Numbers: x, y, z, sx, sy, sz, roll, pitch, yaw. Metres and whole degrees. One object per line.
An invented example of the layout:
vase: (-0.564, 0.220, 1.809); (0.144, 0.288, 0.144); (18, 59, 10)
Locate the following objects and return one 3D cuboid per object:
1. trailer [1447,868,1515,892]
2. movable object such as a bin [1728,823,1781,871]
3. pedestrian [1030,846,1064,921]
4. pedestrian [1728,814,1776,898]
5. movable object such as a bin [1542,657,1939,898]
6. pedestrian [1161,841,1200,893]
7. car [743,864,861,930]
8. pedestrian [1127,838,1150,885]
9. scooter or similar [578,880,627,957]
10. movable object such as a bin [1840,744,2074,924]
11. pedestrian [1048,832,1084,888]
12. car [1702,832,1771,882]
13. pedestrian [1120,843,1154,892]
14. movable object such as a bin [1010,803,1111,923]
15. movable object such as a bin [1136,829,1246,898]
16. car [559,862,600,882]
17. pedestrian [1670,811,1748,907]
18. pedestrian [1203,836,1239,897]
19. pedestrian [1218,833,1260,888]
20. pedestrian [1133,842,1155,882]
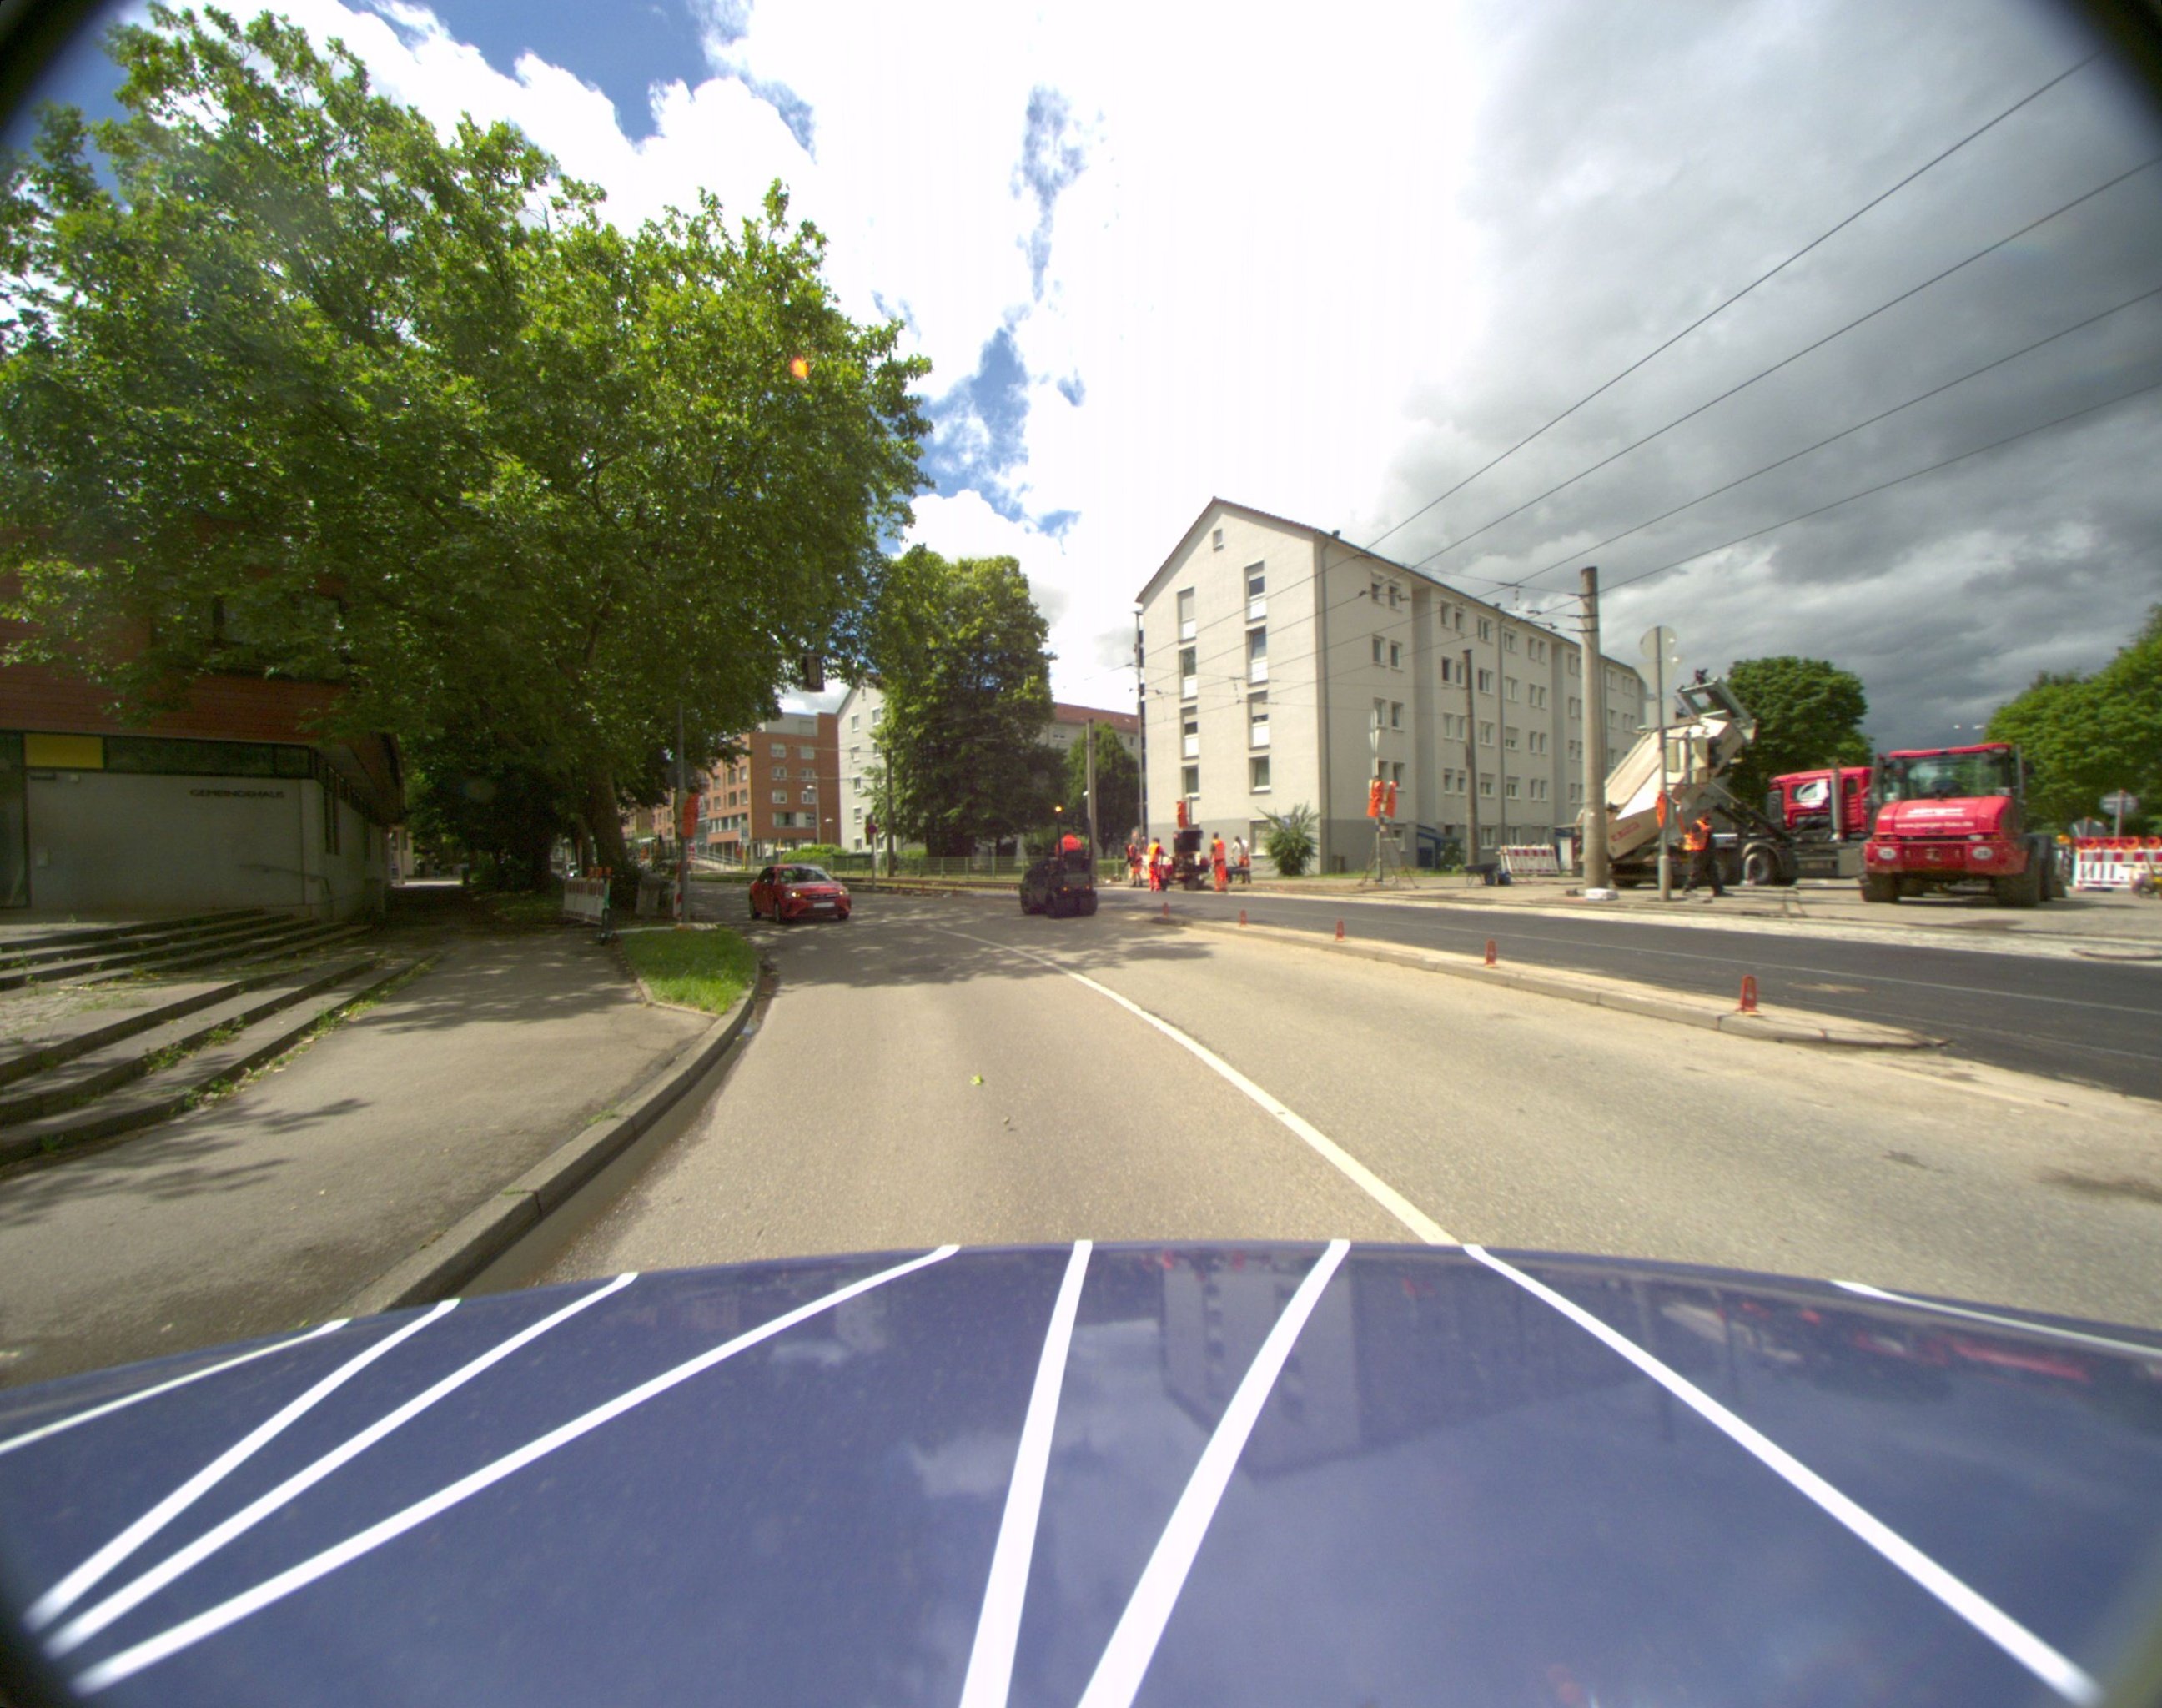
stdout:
trailer: (11.145, 0.714, 21.238); (0.798, 0.612, 1.595); (0, 0, -16)
movable object such as a bin: (35.452, -0.356, 40.056); (1.994, 2.395, 4.008); (0, 0, 41)
pedestrian: (-0.779, 0.668, 17.507); (0.471, 1.672, 0.557); (-4, 2, -37)
pedestrian: (14.454, 0.045, 16.368); (0.583, 1.778, 0.611); (-2, -1, -37)
movable object such as a bin: (16.860, -1.775, 19.554); (9.038, 5.453, 2.818); (-1, 0, -12)
pedestrian: (3.374, 0.435, 25.779); (0.861, 1.706, 0.917); (-2, 0, -29)
car: (-7.233, 1.041, 19.493); (1.773, 1.425, 3.829); (-3, 1, -36)
pedestrian: (2.391, 0.312, 31.402); (0.880, 1.897, 0.667); (-2, 1, 6)
scooter or similar: (-8.259, 1.087, 13.139); (0.566, 1.225, 1.192); (-1, 0, -26)
movable object such as a bin: (15.802, -0.378, 13.615); (5.597, 2.653, 2.110); (-2, 1, -34)
pedestrian: (-0.339, 0.135, 16.871); (0.552, 1.209, 0.616); (-2, 1, -29)
car: (26.733, 0.111, 30.965); (1.994, 1.871, 4.352); (-1, 0, 42)
pedestrian: (1.996, 0.487, 27.039); (0.754, 1.706, 0.916); (-2, 0, -34)
movable object such as a bin: (-0.517, 0.187, 17.662); (1.323, 2.579, 2.357); (-3, 1, -29)
movable object such as a bin: (3.430, 0.277, 23.999); (2.003, 2.002, 2.961); (-1, 0, -31)
car: (-34.052, 1.223, 51.541); (3.370, 1.311, 1.538); (-1, 0, 43)
pedestrian: (12.485, 0.086, 15.117); (0.797, 1.822, 0.969); (-3, 2, -31)
pedestrian: (4.311, 0.383, 23.401); (0.785, 1.828, 0.766); (-1, 1, -42)
pedestrian: (5.363, 0.226, 25.817); (1.098, 1.813, 0.871); (-1, 1, -40)
pedestrian: (2.670, 0.323, 32.334); (0.880, 1.673, 0.667); (-2, 1, 3)
